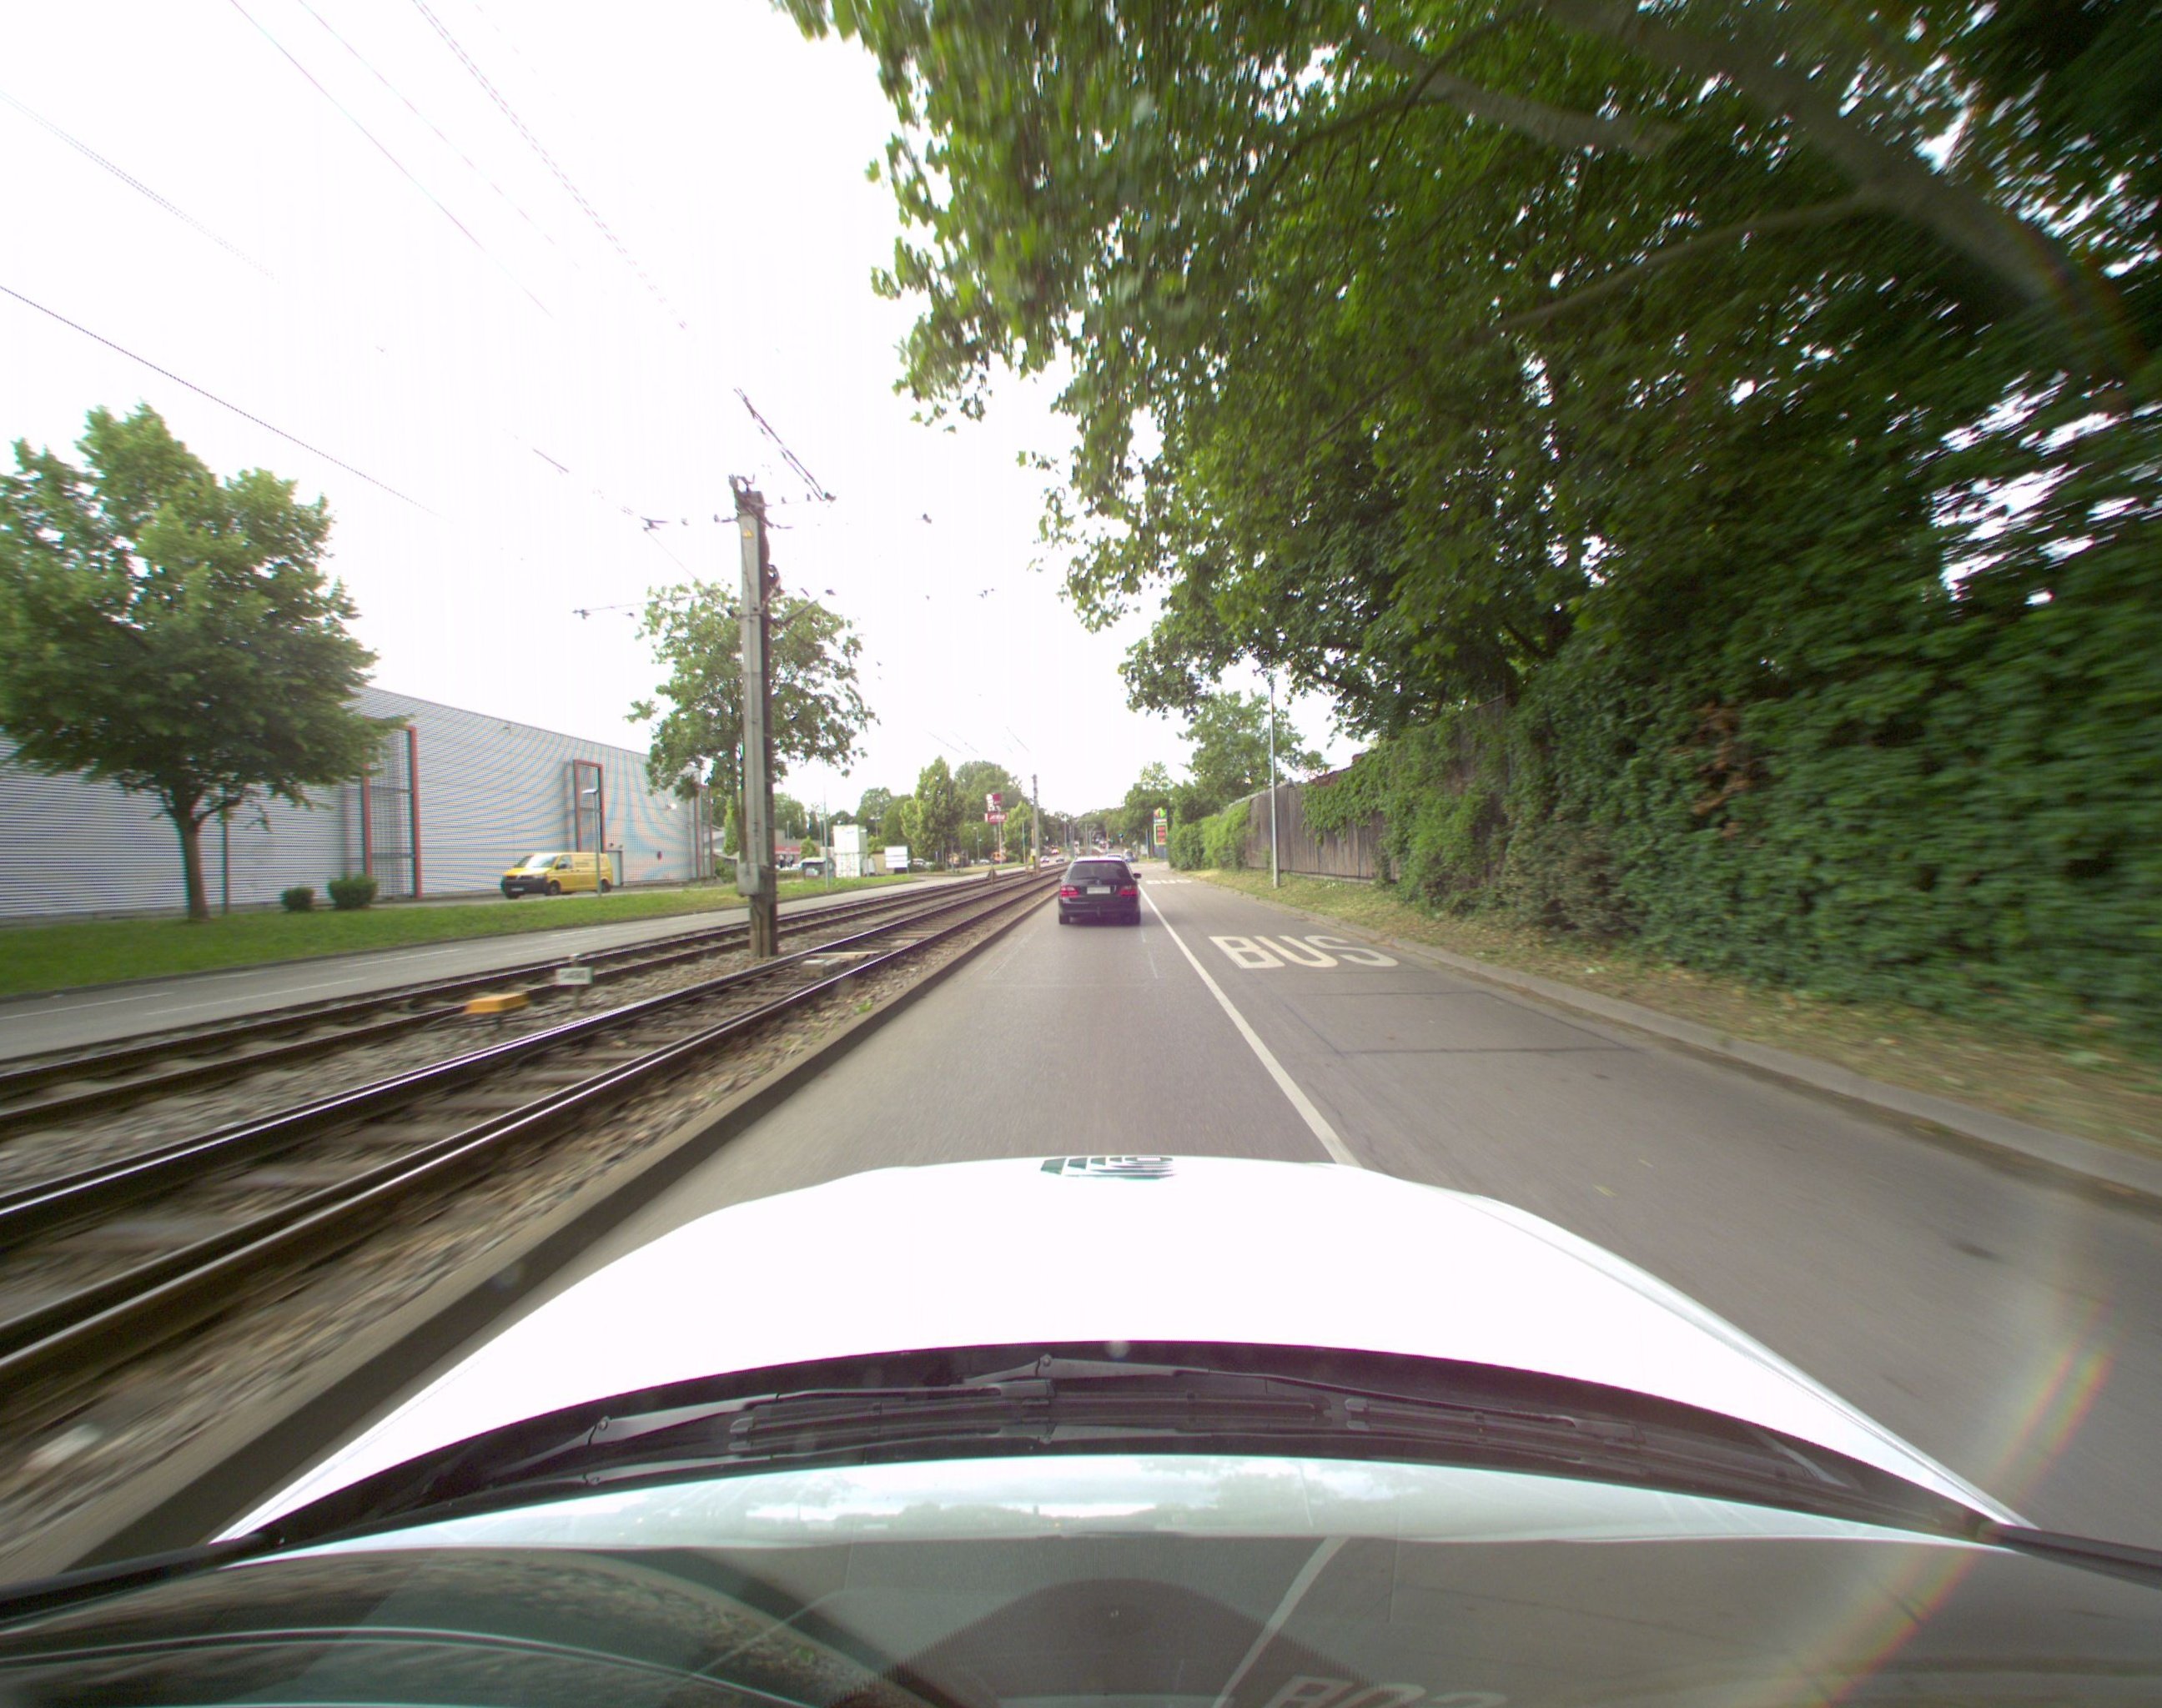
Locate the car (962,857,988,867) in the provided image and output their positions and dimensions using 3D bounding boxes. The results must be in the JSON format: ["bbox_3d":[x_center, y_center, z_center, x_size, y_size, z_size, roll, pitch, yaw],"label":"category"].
[{"bbox_3d":[-18.196,1.338,139.938,4.293,1.472,1.680,-2,0,0],"label":"car"}]

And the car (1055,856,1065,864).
[{"bbox_3d":[-4.660,1.312,179.410,1.753,1.401,4.444,-5,0,1],"label":"car"}]

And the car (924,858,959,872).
[{"bbox_3d":[-18.550,1.454,108.432,4.207,1.727,1.995,-3,0,0],"label":"car"}]

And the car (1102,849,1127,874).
[{"bbox_3d":[2.500,0.572,60.873,1.773,1.750,3.720,0,-1,2],"label":"car"}]

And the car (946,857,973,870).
[{"bbox_3d":[-18.868,1.471,126.594,3.977,1.797,1.876,-3,0,-3],"label":"car"}]

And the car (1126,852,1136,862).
[{"bbox_3d":[7.811,0.461,127.527,1.565,1.414,3.356,0,-1,2],"label":"car"}]

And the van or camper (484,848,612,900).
[{"bbox_3d":[-22.732,0.801,35.053,2.097,2.013,5.240,-2,0,-1],"label":"van or camper"}]

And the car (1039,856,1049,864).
[{"bbox_3d":[-8.112,1.280,178.846,1.786,1.772,4.000,-2,0,0],"label":"car"}]

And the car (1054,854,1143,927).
[{"bbox_3d":[0.442,0.744,18.642,1.801,1.474,3.883,-1,0,2],"label":"car"}]

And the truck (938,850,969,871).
[{"bbox_3d":[-18.341,0.930,117.350,3.975,2.821,2.375,-3,0,-1],"label":"truck"}]

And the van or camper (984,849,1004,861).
[{"bbox_3d":[-17.789,0.241,166.619,3.977,2.135,1.876,-3,0,-3],"label":"van or camper"}]
